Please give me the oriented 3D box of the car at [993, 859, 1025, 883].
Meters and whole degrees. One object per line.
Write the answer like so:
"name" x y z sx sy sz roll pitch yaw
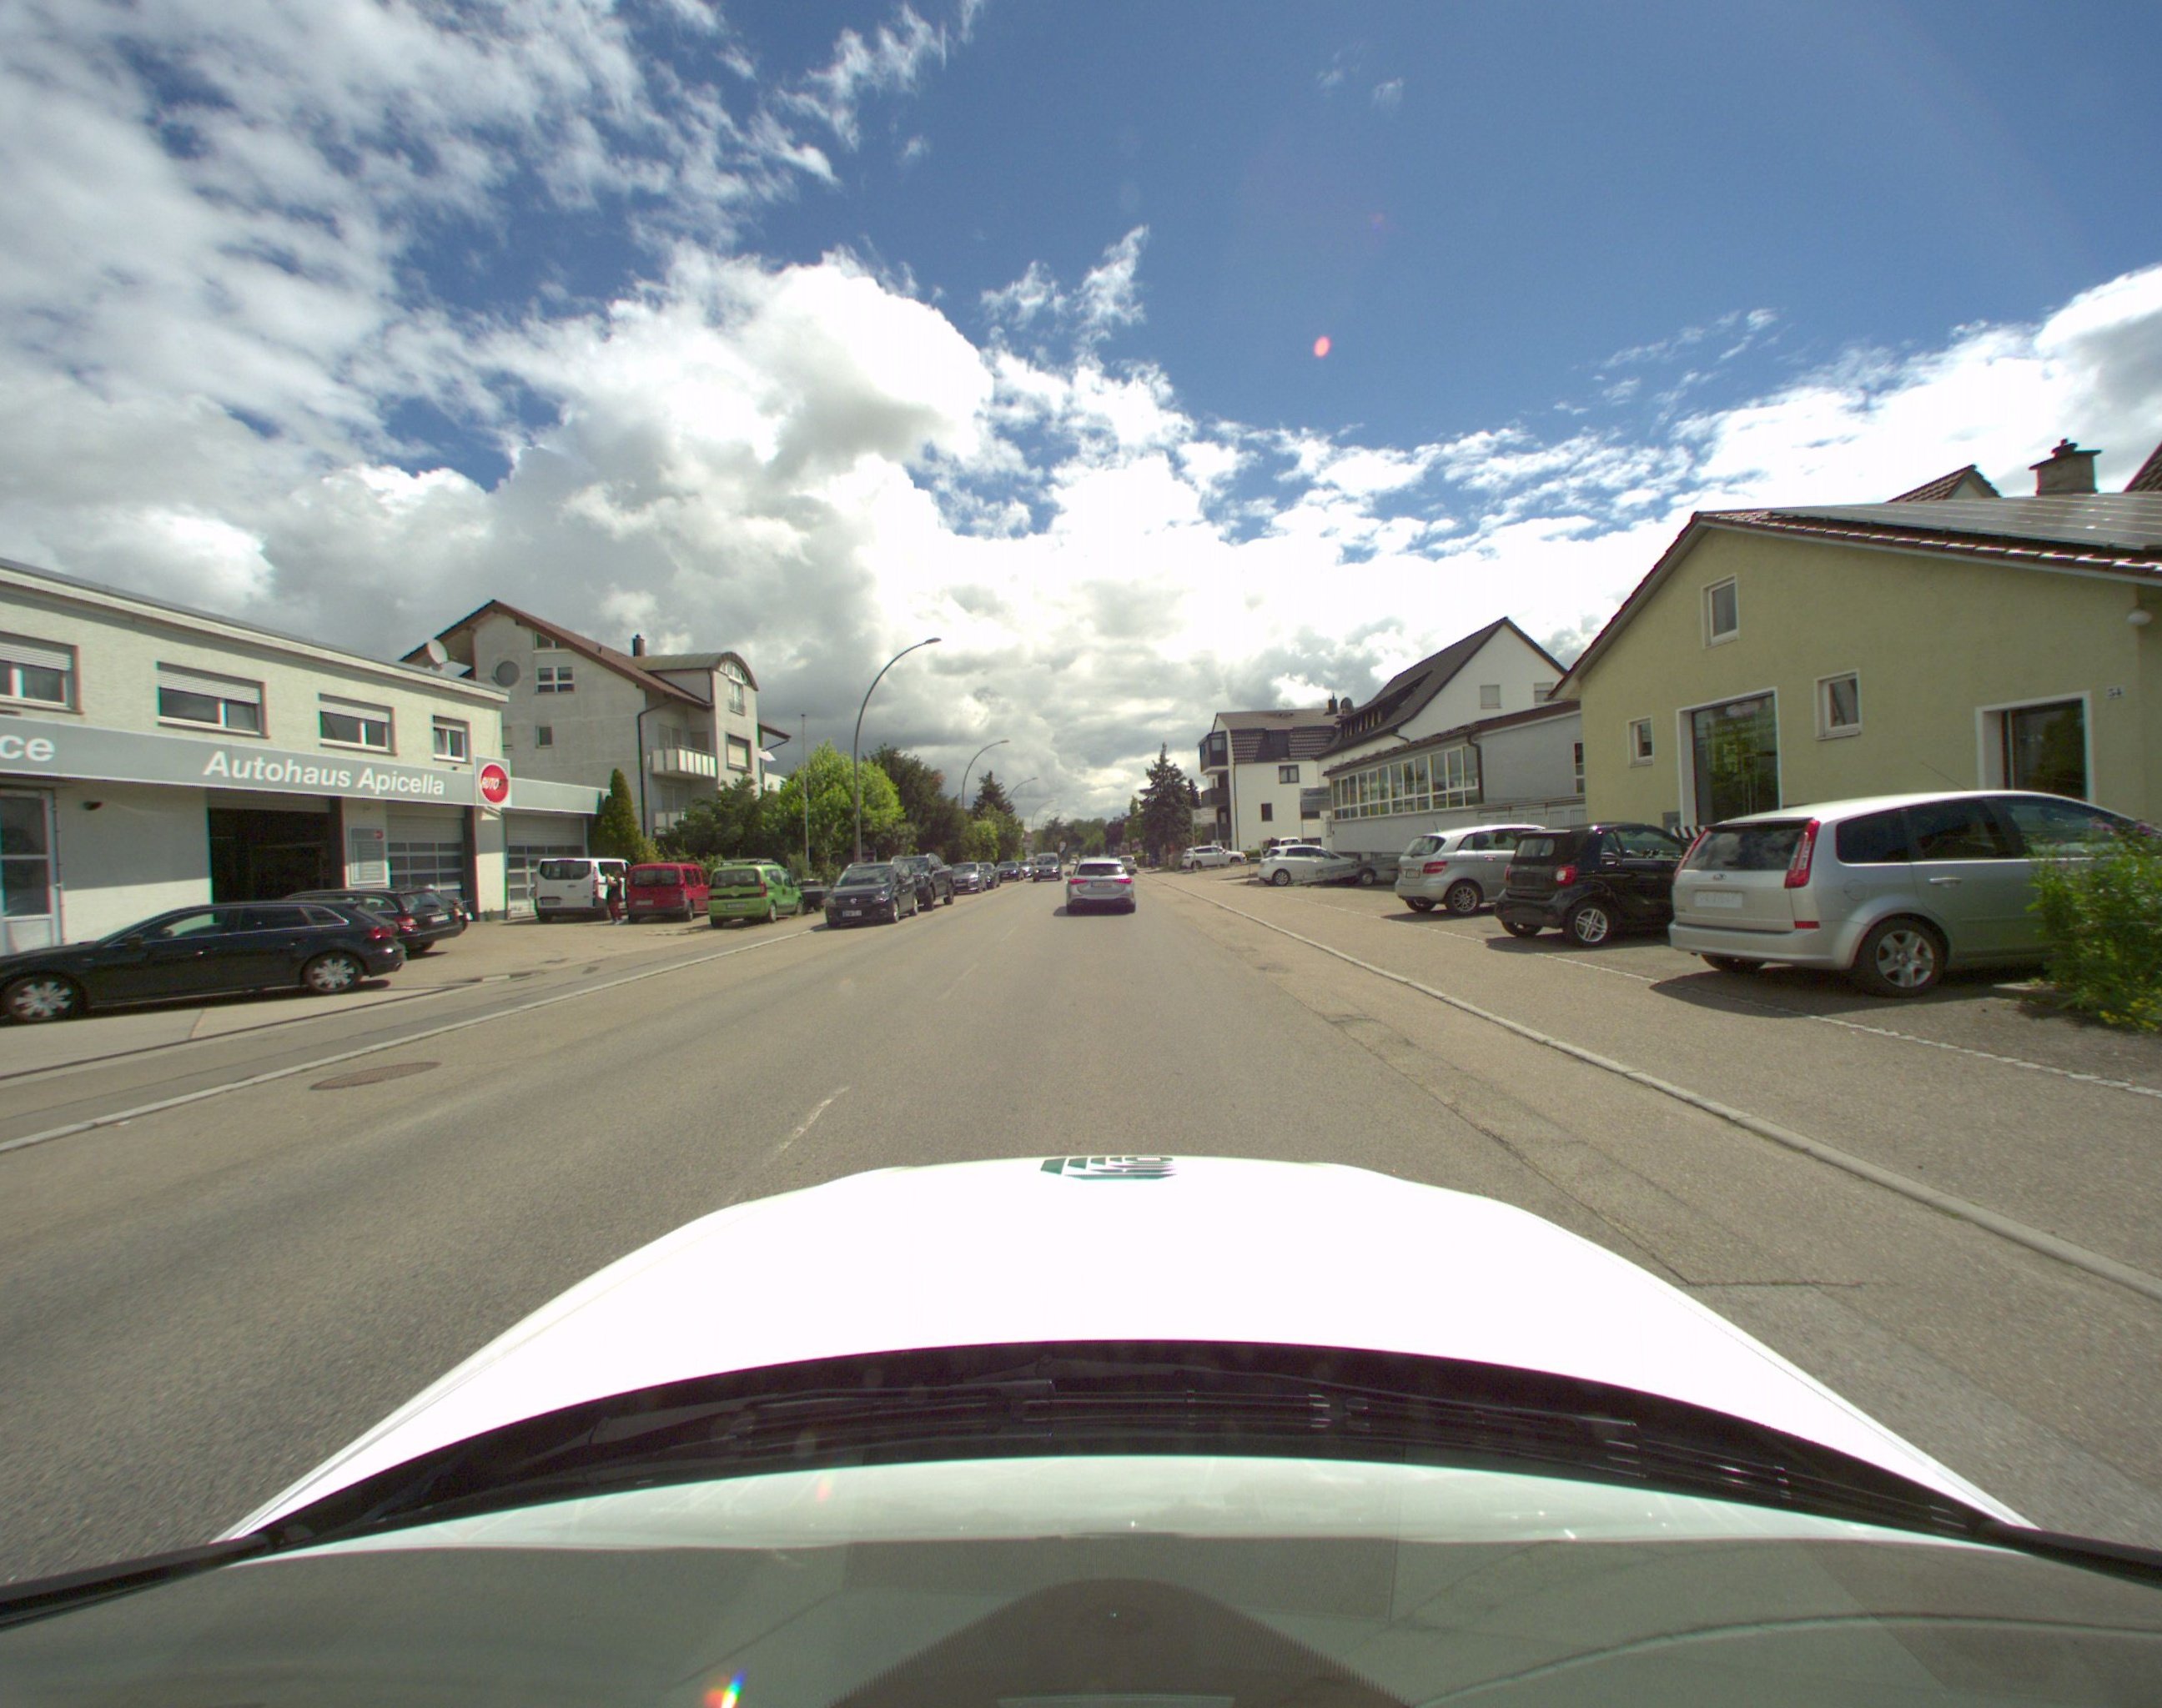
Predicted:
"car" -4.982 1.153 56.872 1.657 1.414 4.339 -4 0 1

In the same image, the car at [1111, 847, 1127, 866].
"car" 4.608 0.317 99.752 1.867 2.169 4.466 -1 0 2

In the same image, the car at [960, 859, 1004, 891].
"car" -5.291 1.090 43.797 1.657 1.435 4.339 -5 0 1

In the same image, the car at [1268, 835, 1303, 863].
"car" 12.671 -0.344 50.669 1.622 1.518 3.673 -6 1 8

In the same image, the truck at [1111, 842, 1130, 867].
"truck" 5.106 0.068 105.367 2.312 3.097 6.044 -1 0 1

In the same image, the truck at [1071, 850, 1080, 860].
"truck" -1.657 0.304 250.068 2.067 2.814 7.082 -4 0 2

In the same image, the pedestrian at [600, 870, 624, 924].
"pedestrian" -13.842 1.270 24.049 0.411 1.558 0.493 0 0 0

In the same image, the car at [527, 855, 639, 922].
"car" -16.213 1.085 26.749 1.879 1.980 4.317 -1 -1 -14

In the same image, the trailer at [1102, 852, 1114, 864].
"trailer" 5.187 0.802 157.085 1.935 2.294 4.444 -3 -1 0

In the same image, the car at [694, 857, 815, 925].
"car" -9.519 1.005 24.173 1.786 1.785 4.337 -2 0 0

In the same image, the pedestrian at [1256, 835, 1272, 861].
"pedestrian" 11.413 -0.371 50.859 0.760 1.528 0.782 -5 -1 6

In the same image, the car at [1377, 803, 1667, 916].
"car" 8.256 0.099 15.538 4.396 1.608 1.973 -5 0 -3

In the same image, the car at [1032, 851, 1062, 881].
"car" -2.165 0.759 52.860 1.657 1.796 4.337 -4 0 0

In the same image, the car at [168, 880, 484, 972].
"car" -15.272 1.417 16.711 4.390 1.492 1.973 -2 1 -5

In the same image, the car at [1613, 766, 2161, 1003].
"car" 7.641 0.173 7.311 4.396 1.525 1.973 -5 0 -3

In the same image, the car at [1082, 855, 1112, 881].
"car" 1.010 0.849 52.112 1.750 1.558 4.000 -2 0 0

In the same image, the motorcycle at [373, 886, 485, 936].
"motorcycle" -16.949 1.471 21.203 2.192 1.229 0.846 0 0 -2

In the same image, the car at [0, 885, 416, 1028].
"car" -12.454 1.326 11.707 4.363 1.489 1.776 -3 0 -42

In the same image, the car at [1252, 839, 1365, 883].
"car" 8.731 0.266 31.455 3.887 1.608 1.748 -1 0 -1

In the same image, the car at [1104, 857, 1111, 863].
"car" 8.081 1.857 251.505 2.136 1.984 5.263 -3 0 2

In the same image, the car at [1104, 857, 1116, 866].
"car" 5.222 1.337 145.714 1.933 1.571 4.449 -3 0 3

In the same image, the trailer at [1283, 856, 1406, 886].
"trailer" 9.234 0.593 28.740 3.805 0.808 1.656 -3 0 -1

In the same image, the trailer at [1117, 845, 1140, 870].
"trailer" 4.340 0.324 74.522 1.767 2.144 4.114 -3 0 1

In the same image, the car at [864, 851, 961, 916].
"car" -5.572 0.902 27.723 1.904 1.821 5.430 -6 0 1

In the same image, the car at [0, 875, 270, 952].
"car" -21.971 1.347 19.055 3.978 1.618 1.868 0 0 -4

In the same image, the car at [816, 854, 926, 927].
"car" -5.567 0.895 22.200 1.657 1.680 4.527 -4 0 1

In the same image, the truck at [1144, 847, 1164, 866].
"truck" 8.770 0.261 98.144 1.823 2.081 5.385 -6 1 0

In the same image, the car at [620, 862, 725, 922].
"car" -13.056 1.164 26.313 1.792 1.785 4.323 0 -1 -10

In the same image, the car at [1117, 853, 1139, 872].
"car" 3.953 0.728 68.939 1.712 1.432 3.987 -4 0 3

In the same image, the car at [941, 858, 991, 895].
"car" -5.406 1.031 38.752 1.657 1.511 3.945 -5 0 1

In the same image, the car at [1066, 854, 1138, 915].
"car" 0.500 0.768 22.614 1.779 1.484 4.315 -1 0 -1

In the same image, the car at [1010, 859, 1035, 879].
"car" -4.751 1.165 66.652 1.714 1.432 4.198 -4 0 -1

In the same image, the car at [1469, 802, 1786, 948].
"car" 7.231 0.253 11.043 2.881 1.525 1.973 -5 0 -3

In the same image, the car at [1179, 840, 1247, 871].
"car" 8.953 0.123 55.339 4.178 1.654 1.867 -6 0 0
